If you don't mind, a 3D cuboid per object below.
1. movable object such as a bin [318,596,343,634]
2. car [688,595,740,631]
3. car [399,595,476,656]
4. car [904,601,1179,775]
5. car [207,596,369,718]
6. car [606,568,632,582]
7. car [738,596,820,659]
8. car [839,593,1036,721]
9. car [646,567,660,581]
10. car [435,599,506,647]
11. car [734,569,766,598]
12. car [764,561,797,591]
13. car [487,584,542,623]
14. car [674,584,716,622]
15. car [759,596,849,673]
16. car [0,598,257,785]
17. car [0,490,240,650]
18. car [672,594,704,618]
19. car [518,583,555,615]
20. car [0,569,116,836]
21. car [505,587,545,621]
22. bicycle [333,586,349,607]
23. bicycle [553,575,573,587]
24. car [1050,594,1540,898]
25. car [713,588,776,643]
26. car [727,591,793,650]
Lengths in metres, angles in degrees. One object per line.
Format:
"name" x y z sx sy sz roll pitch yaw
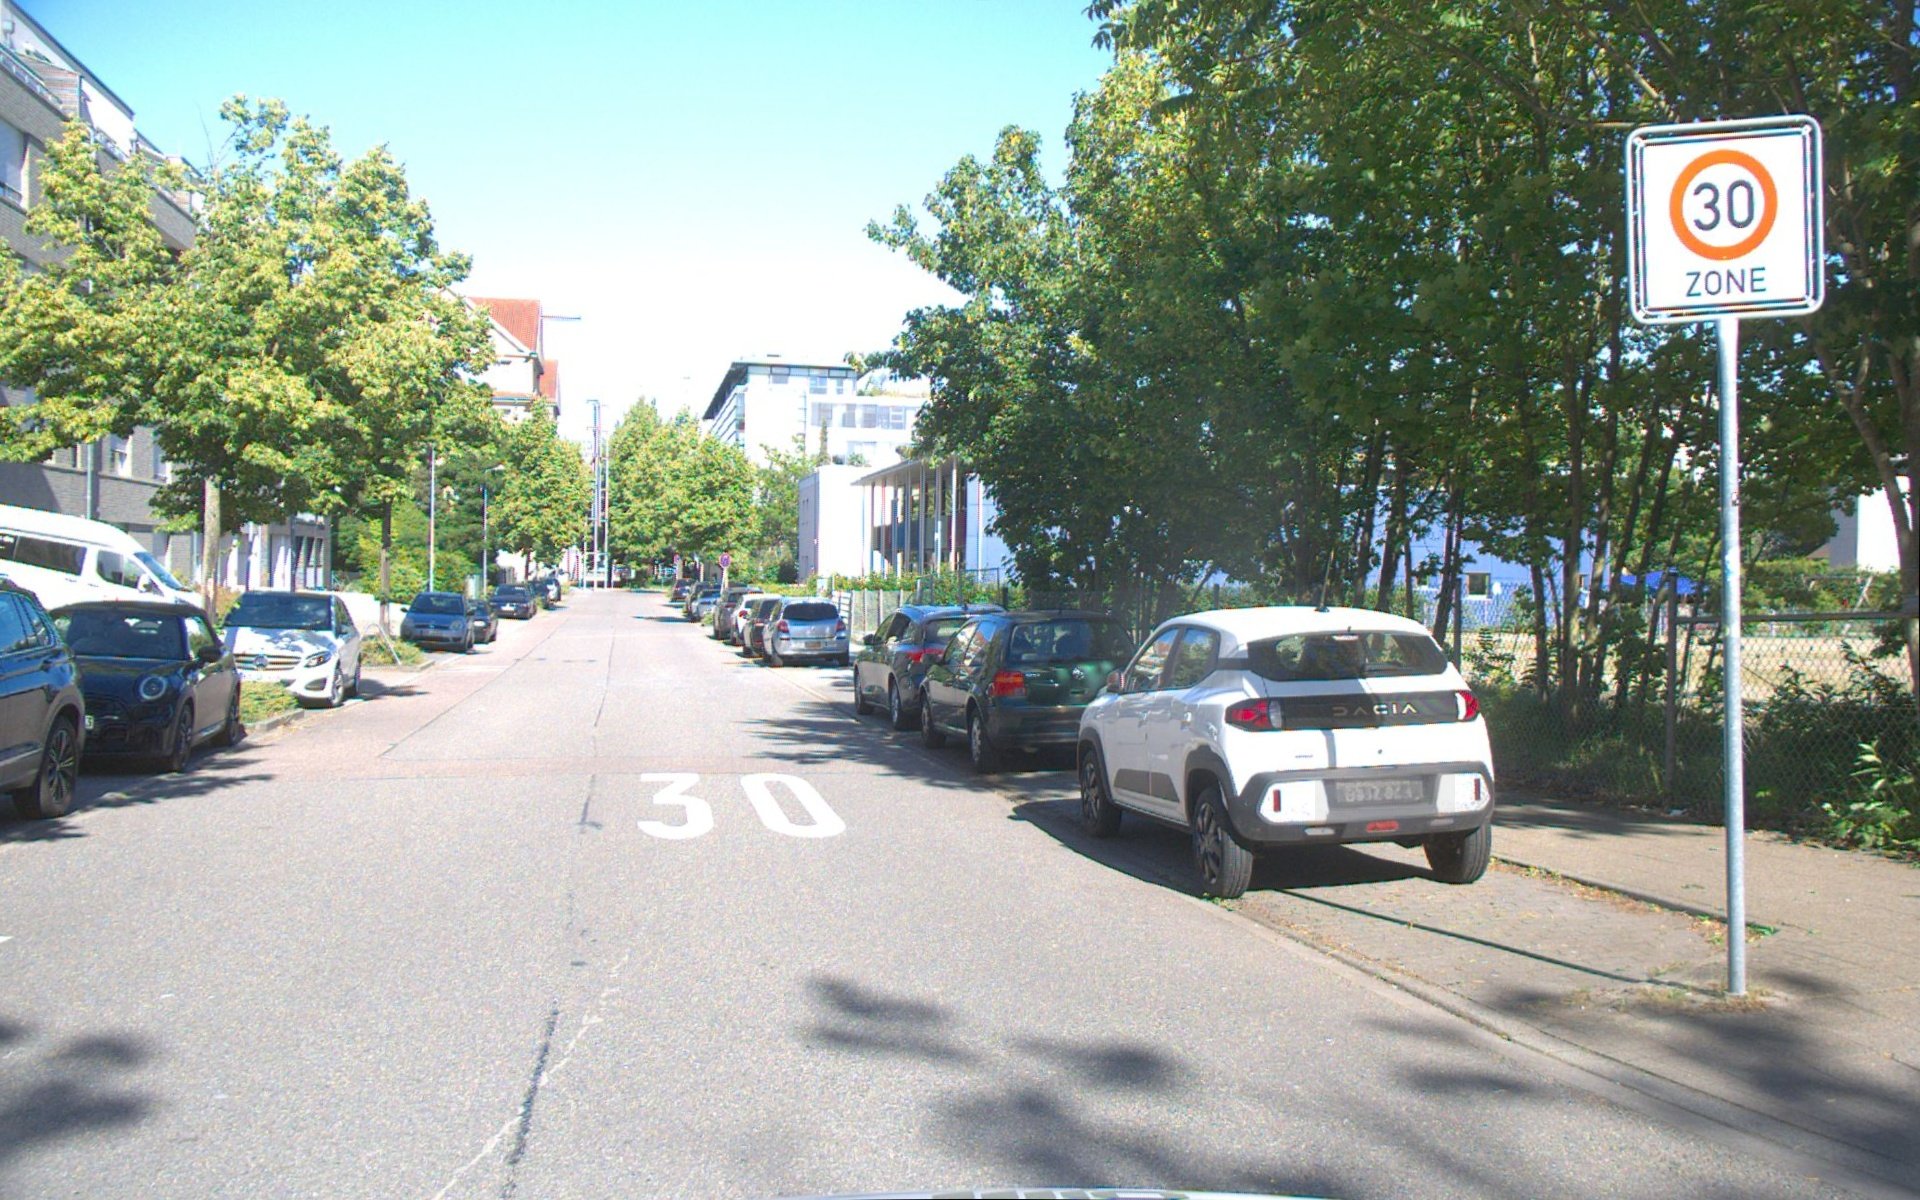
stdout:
"movable object such as a bin" -19.083 0.448 50.130 0.597 1.109 0.634 1 1 -13
"car" -10.839 0.544 72.750 1.799 1.447 4.217 -2 1 -15
"car" -13.643 0.633 43.374 1.583 1.490 3.862 1 0 -13
"car" 0.662 0.774 16.449 1.792 1.497 4.057 1 0 -11
"car" -9.629 0.746 23.964 1.631 1.559 4.270 0 1 -15
"car" -52.183 -3.832 253.166 3.915 2.048 1.995 1 1 -11
"car" -4.656 0.670 42.118 1.658 1.520 4.066 1 0 -12
"car" -0.401 0.666 21.288 1.647 1.463 4.425 1 0 -13
"car" -47.446 -4.087 255.542 1.958 2.048 3.990 1 1 -11
"car" -14.441 0.669 48.961 1.570 1.238 3.865 3 0 -11
"car" -14.725 -1.139 115.885 1.988 2.049 3.989 0 0 -11
"car" -12.641 -1.686 116.407 1.958 2.048 3.989 0 2 -11
"car" -19.259 0.145 71.638 1.729 1.554 3.993 3 0 -8
"car" -12.777 0.126 79.601 1.789 1.748 4.107 -2 1 -12
"car" -3.570 0.737 37.366 1.633 1.539 3.990 1 1 -11
"car" -7.779 0.754 15.607 1.552 1.530 3.775 0 0 -15
"car" -17.072 -0.668 31.846 5.360 2.423 1.914 9 -2 -15
"car" -17.885 0.378 108.634 1.958 1.512 3.989 0 0 -11
"car" -22.325 -0.067 87.361 1.664 1.633 3.931 1 0 -11
"car" -6.805 0.617 9.940 1.853 1.648 4.328 1 -1 -10
"car" -20.441 0.162 77.868 1.601 1.527 3.567 1 0 -11
"bicycle" -26.072 -0.154 69.642 0.248 0.852 1.771 1 1 -8
"bicycle" -29.899 -1.426 124.413 1.443 0.857 0.334 1 1 -16
"car" 1.793 0.754 10.209 1.590 1.476 4.080 1 -1 -10
"car" -7.159 0.490 54.765 1.696 1.681 4.313 -1 1 -12
"car" -6.039 0.588 49.692 1.650 1.569 3.838 1 1 -12
